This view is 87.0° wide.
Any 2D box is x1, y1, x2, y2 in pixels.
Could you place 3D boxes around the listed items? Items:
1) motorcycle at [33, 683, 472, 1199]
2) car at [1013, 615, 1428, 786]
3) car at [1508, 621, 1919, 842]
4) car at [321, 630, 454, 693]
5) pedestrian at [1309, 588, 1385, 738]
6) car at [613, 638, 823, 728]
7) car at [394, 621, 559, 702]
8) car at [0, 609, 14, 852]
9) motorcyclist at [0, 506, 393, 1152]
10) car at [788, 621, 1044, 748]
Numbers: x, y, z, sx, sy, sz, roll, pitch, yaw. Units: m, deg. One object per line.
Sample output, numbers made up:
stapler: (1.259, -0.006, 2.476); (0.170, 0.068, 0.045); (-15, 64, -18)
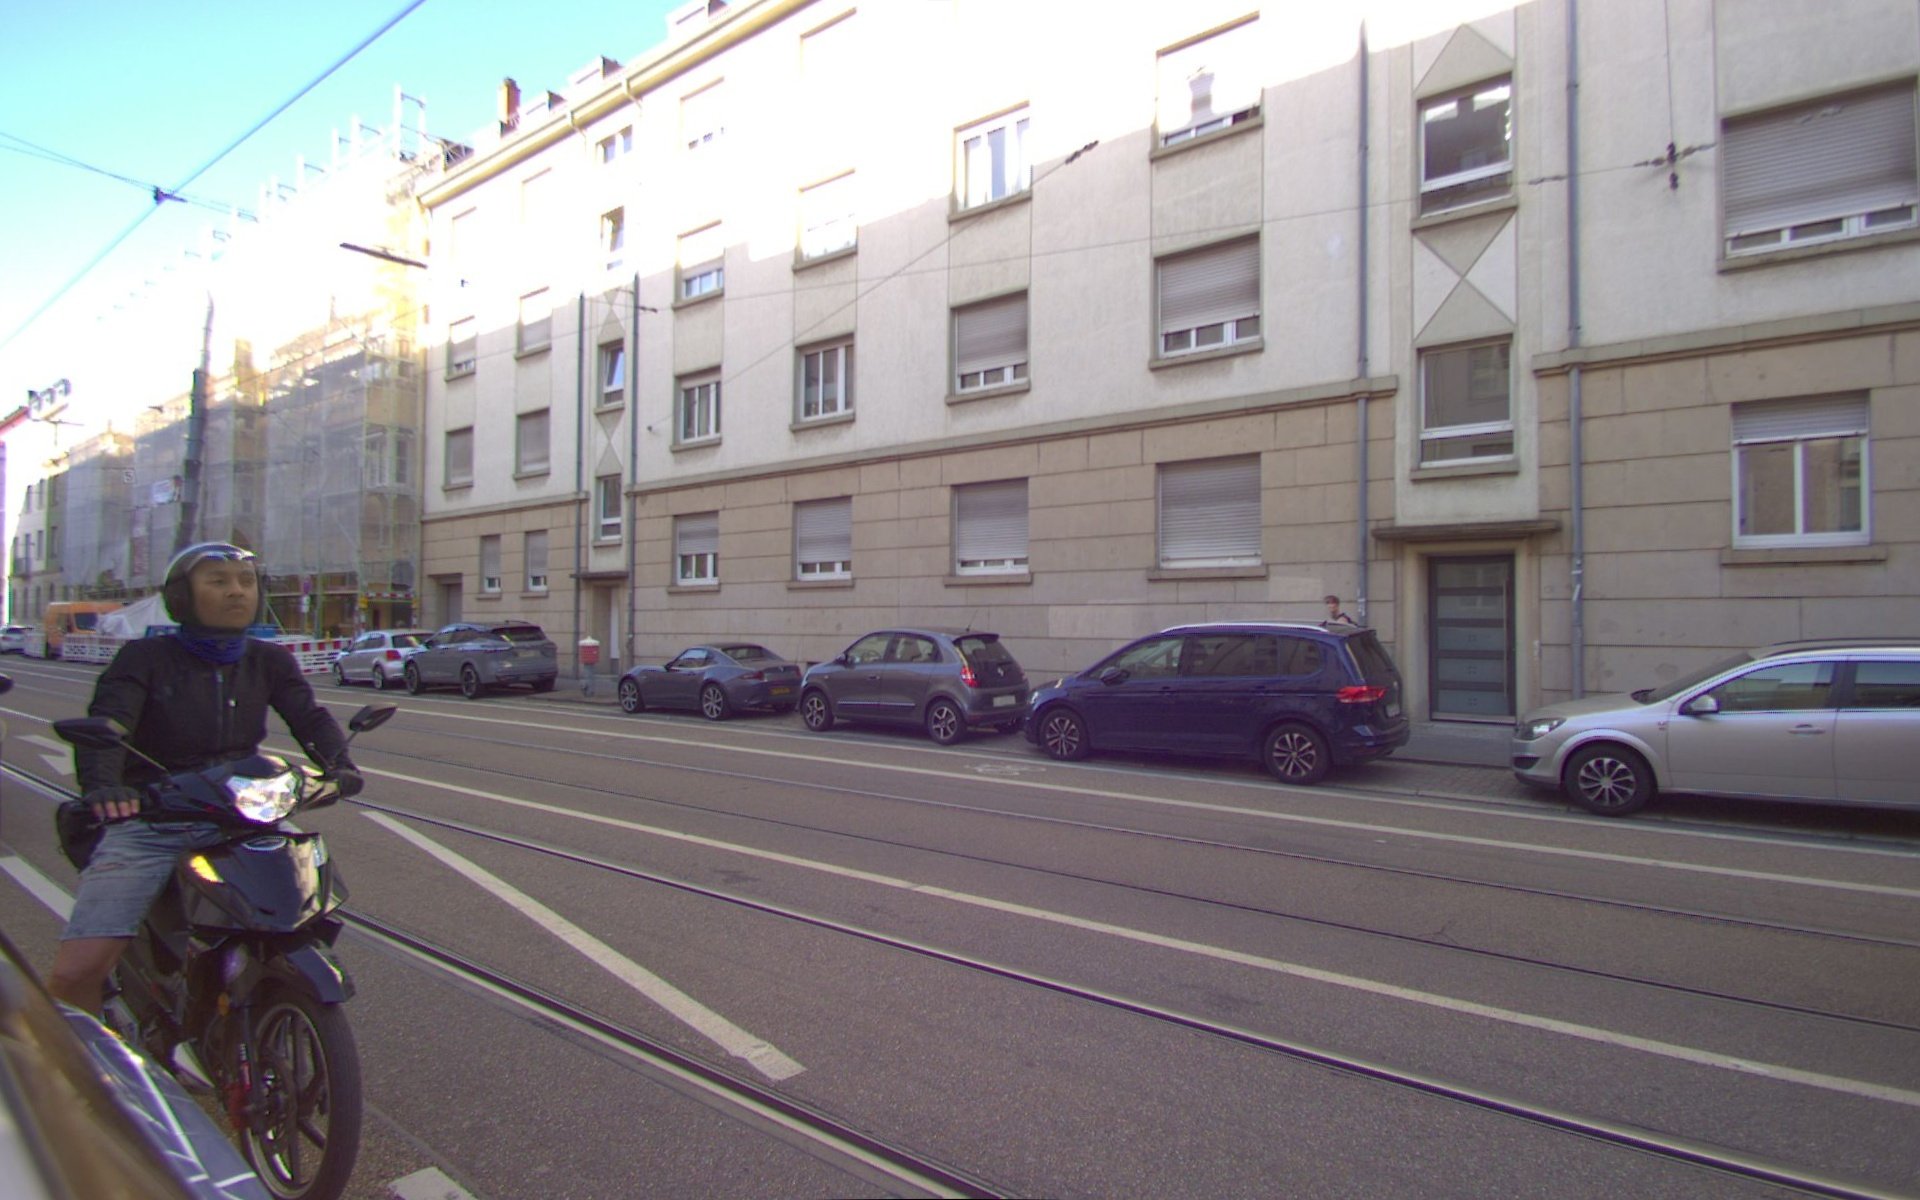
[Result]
motorcycle: (-2.047, 0.904, 2.788); (1.980, 1.228, 0.532); (-1, 0, 41)
car: (2.914, 0.996, 11.750); (4.285, 1.597, 1.887); (-1, 0, 37)
car: (7.235, 0.989, 8.521); (4.358, 1.571, 1.975); (-1, 0, 38)
car: (-14.425, 1.492, 25.462); (3.639, 1.402, 1.617); (-1, 0, 37)
pedestrian: (4.946, 0.781, 12.945); (0.733, 1.846, 0.592); (-1, 0, 41)
car: (-4.231, 1.358, 17.534); (3.483, 1.286, 1.730); (-1, 0, 37)
car: (-10.862, 1.297, 22.636); (4.108, 1.603, 1.691); (-1, 0, 38)
car: (-8.015, 0.830, 7.000); (3.997, 1.515, 1.670); (-2, -3, 40)
motorcyclist: (-2.202, 0.536, 2.899); (0.598, 1.516, 0.851); (-1, 0, 41)
car: (-0.698, 1.115, 14.731); (3.493, 1.584, 1.650); (-1, 0, 38)
